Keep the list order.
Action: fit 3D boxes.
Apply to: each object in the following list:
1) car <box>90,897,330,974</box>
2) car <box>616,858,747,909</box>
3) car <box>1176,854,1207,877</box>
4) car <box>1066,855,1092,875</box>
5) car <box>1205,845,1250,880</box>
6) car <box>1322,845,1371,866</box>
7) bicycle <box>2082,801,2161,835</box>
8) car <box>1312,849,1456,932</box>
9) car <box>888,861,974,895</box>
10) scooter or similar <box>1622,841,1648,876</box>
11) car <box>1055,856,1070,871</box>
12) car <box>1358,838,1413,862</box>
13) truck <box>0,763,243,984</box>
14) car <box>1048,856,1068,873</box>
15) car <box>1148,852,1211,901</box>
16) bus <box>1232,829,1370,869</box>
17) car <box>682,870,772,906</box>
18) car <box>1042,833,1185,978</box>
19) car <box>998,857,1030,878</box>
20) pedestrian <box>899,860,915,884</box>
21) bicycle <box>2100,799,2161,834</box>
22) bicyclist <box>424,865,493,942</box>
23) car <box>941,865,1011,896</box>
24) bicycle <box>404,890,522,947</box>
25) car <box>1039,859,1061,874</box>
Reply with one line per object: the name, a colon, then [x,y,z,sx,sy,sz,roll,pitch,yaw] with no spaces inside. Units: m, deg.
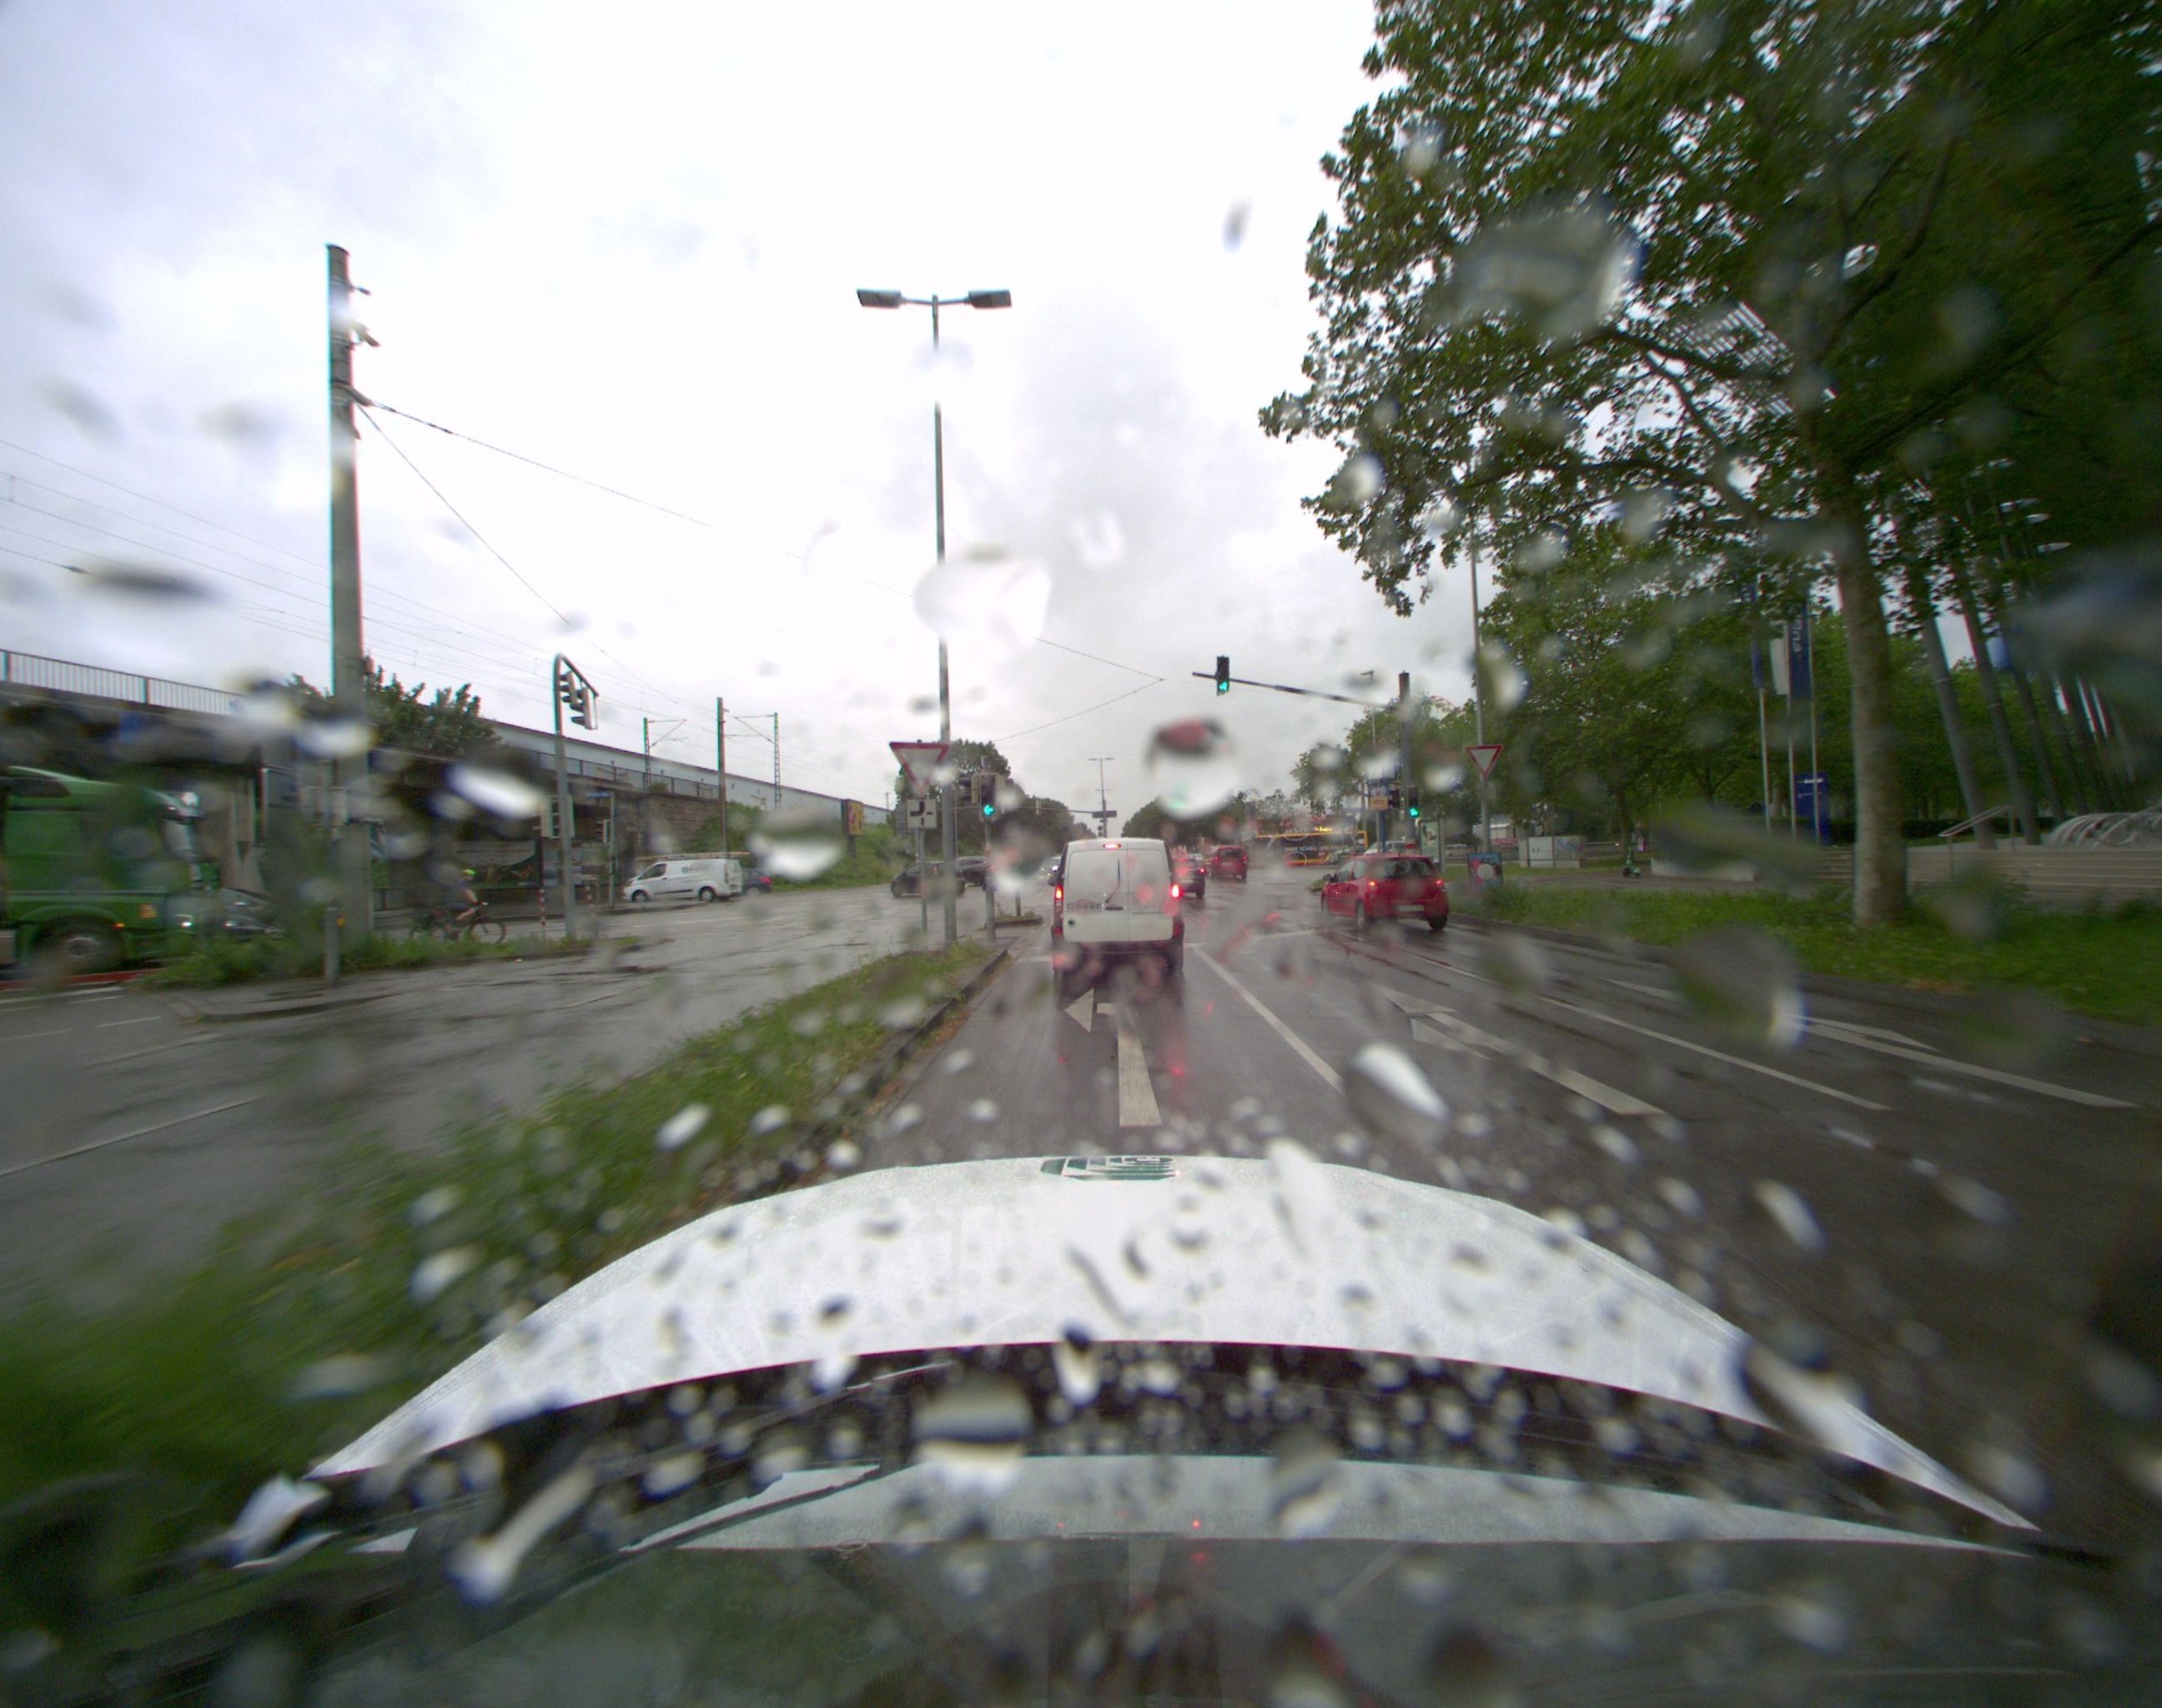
car: [-22.394,2.031,21.193,4.020,1.546,1.641,-2,0,-38]
car: [-17.939,1.298,36.725,4.794,1.955,1.998,-3,0,-4]
car: [8.077,0.798,59.768,1.835,1.618,4.002,-1,0,2]
car: [-0.112,1.018,78.033,2.160,1.720,4.307,-2,0,3]
car: [7.170,0.404,40.104,1.626,1.656,3.485,0,0,1]
car: [23.324,0.120,71.504,4.361,1.651,1.912,-2,0,-36]
bicycle: [45.163,-1.556,34.148,1.198,1.332,3.953,-2,0,-39]
car: [6.082,0.681,16.798,1.672,1.491,3.622,-1,0,1]
car: [-6.212,0.996,33.638,3.414,1.306,1.593,-2,0,39]
scooter or similar: [18.397,0.143,27.057,1.181,1.138,0.337,-3,0,-39]
car: [-2.205,1.107,98.444,1.648,1.720,4.001,-2,0,1]
car: [26.288,-0.346,70.272,4.767,1.849,2.055,-2,0,-36]
truck: [-22.231,0.454,14.176,10.238,3.949,2.659,-2,0,-35]
car: [-2.438,1.090,87.251,1.858,1.720,3.999,-2,0,0]
car: [3.421,0.761,28.976,1.836,1.618,4.001,-1,0,1]
bus: [20.854,-0.453,77.748,12.207,3.268,3.275,-2,0,0]
car: [-18.327,1.741,42.341,3.935,1.619,1.991,-2,0,-13]
car: [0.459,0.657,12.299,1.749,1.777,4.001,-2,0,1]
car: [-5.781,1.109,70.471,2.013,1.657,4.067,-2,0,5]
pedestrian: [-12.449,1.280,58.296,1.001,1.719,0.818,-2,0,-7]
bicycle: [43.750,-1.559,32.494,3.648,1.332,1.199,-2,0,29]
bicyclist: [-13.340,1.041,17.493,1.049,1.593,0.798,0,-1,-27]
car: [-5.364,1.367,41.397,3.312,1.473,1.579,-2,0,38]
bicycle: [-13.257,1.357,17.533,1.917,1.094,0.689,-1,0,-27]
car: [-2.947,1.150,76.361,1.824,1.358,3.993,-2,0,-5]
